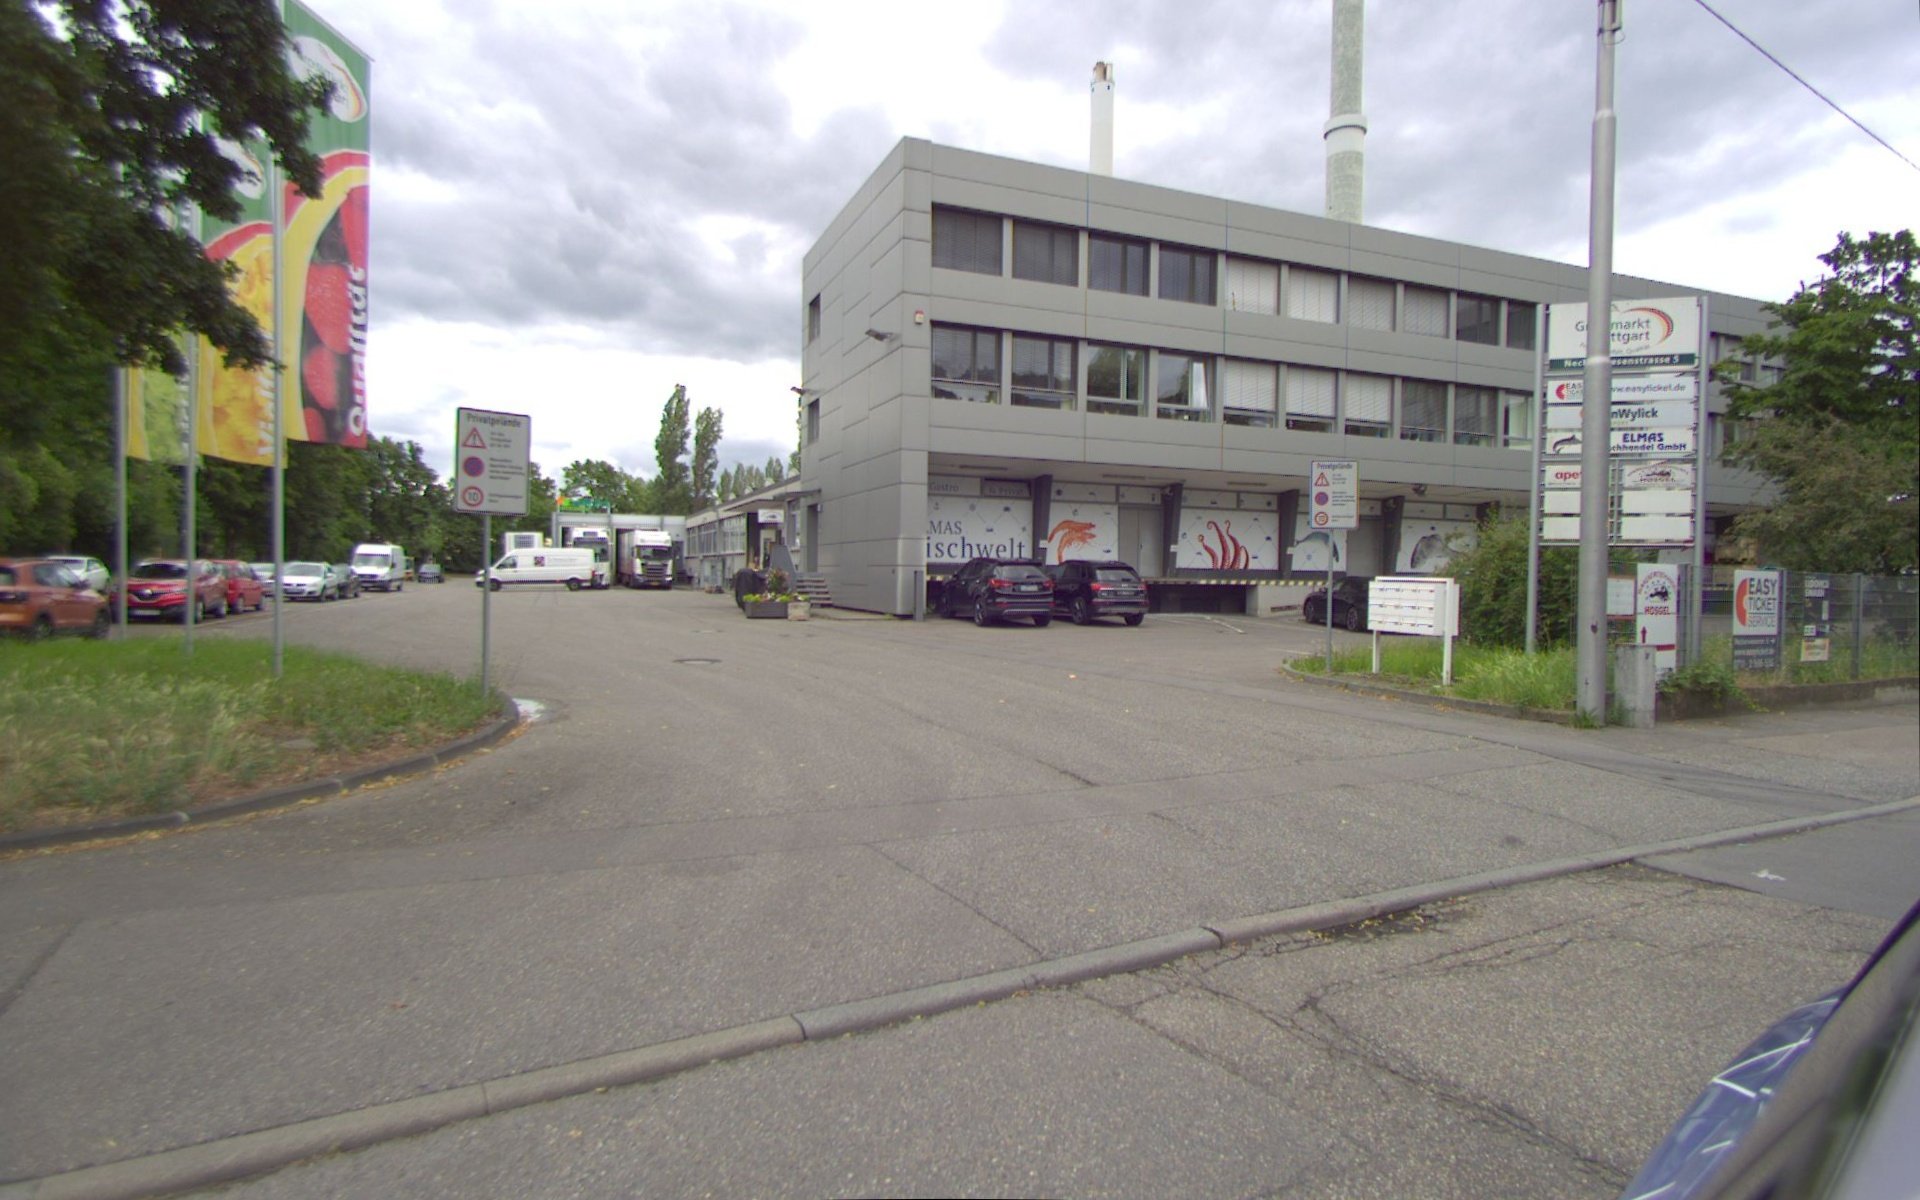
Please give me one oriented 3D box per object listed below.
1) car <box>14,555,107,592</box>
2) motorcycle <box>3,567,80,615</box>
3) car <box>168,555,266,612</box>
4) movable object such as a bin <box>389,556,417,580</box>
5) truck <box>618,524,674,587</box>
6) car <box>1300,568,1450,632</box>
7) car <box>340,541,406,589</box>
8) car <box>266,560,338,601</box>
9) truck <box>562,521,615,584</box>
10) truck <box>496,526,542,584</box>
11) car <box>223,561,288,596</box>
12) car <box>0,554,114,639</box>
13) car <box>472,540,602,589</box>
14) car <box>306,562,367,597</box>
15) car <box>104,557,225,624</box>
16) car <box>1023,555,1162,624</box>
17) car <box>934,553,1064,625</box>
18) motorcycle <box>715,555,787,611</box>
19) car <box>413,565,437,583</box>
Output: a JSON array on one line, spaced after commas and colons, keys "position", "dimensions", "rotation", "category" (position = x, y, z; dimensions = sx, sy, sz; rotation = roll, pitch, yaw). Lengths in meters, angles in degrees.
[{"position": [-33.123, -0.998, 37.358], "dimensions": [1.383, 1.283, 3.325], "rotation": [1, 2, -18], "category": "car"}, {"position": [-23.701, -0.250, 26.154], "dimensions": [0.996, 1.189, 2.101], "rotation": [0, 2, -29], "category": "motorcycle"}, {"position": [-22.449, -0.531, 30.691], "dimensions": [1.564, 1.615, 3.797], "rotation": [0, 2, -23], "category": "car"}, {"position": [-49.303, -2.801, 89.527], "dimensions": [1.764, 2.038, 5.941], "rotation": [0, 2, -32], "category": "movable object such as a bin"}, {"position": [-23.119, -3.134, 73.807], "dimensions": [2.812, 4.075, 15.887], "rotation": [1, 2, -21], "category": "truck"}, {"position": [11.493, -0.079, 28.483], "dimensions": [2.011, 1.462, 4.835], "rotation": [1, 4, -3], "category": "car"}, {"position": [-33.010, -1.974, 57.130], "dimensions": [2.262, 2.510, 6.941], "rotation": [0, 2, -22], "category": "car"}, {"position": [-26.315, -0.792, 40.583], "dimensions": [1.564, 1.531, 3.815], "rotation": [1, 2, -19], "category": "car"}, {"position": [-26.652, -3.276, 72.069], "dimensions": [2.792, 3.982, 15.763], "rotation": [1, 2, -23], "category": "truck"}, {"position": [-34.319, -3.443, 78.984], "dimensions": [2.937, 4.217, 9.210], "rotation": [0, 2, -22], "category": "truck"}, {"position": [-30.569, -0.942, 44.018], "dimensions": [1.564, 1.458, 3.668], "rotation": [0, 2, -22], "category": "car"}, {"position": [-15.526, -0.110, 16.516], "dimensions": [1.674, 1.264, 3.709], "rotation": [0, 2, -24], "category": "car"}, {"position": [-25.135, -2.095, 60.351], "dimensions": [7.004, 2.766, 2.249], "rotation": [0, 1, -21], "category": "car"}, {"position": [-27.931, -0.932, 45.411], "dimensions": [1.564, 1.458, 3.669], "rotation": [1, 2, -19], "category": "car"}, {"position": [-20.299, -0.287, 25.972], "dimensions": [1.602, 1.586, 3.569], "rotation": [0, 2, -24], "category": "car"}, {"position": [3.451, -0.346, 27.299], "dimensions": [1.800, 1.637, 4.435], "rotation": [1, 3, -20], "category": "car"}, {"position": [0.894, -0.344, 26.274], "dimensions": [1.800, 1.637, 4.477], "rotation": [1, 3, -19], "category": "car"}, {"position": [-6.586, -0.561, 32.106], "dimensions": [1.178, 1.675, 2.884], "rotation": [1, 1, 12], "category": "motorcycle"}, {"position": [-44.490, -2.179, 84.183], "dimensions": [1.564, 1.458, 3.667], "rotation": [0, 2, -26], "category": "car"}]
